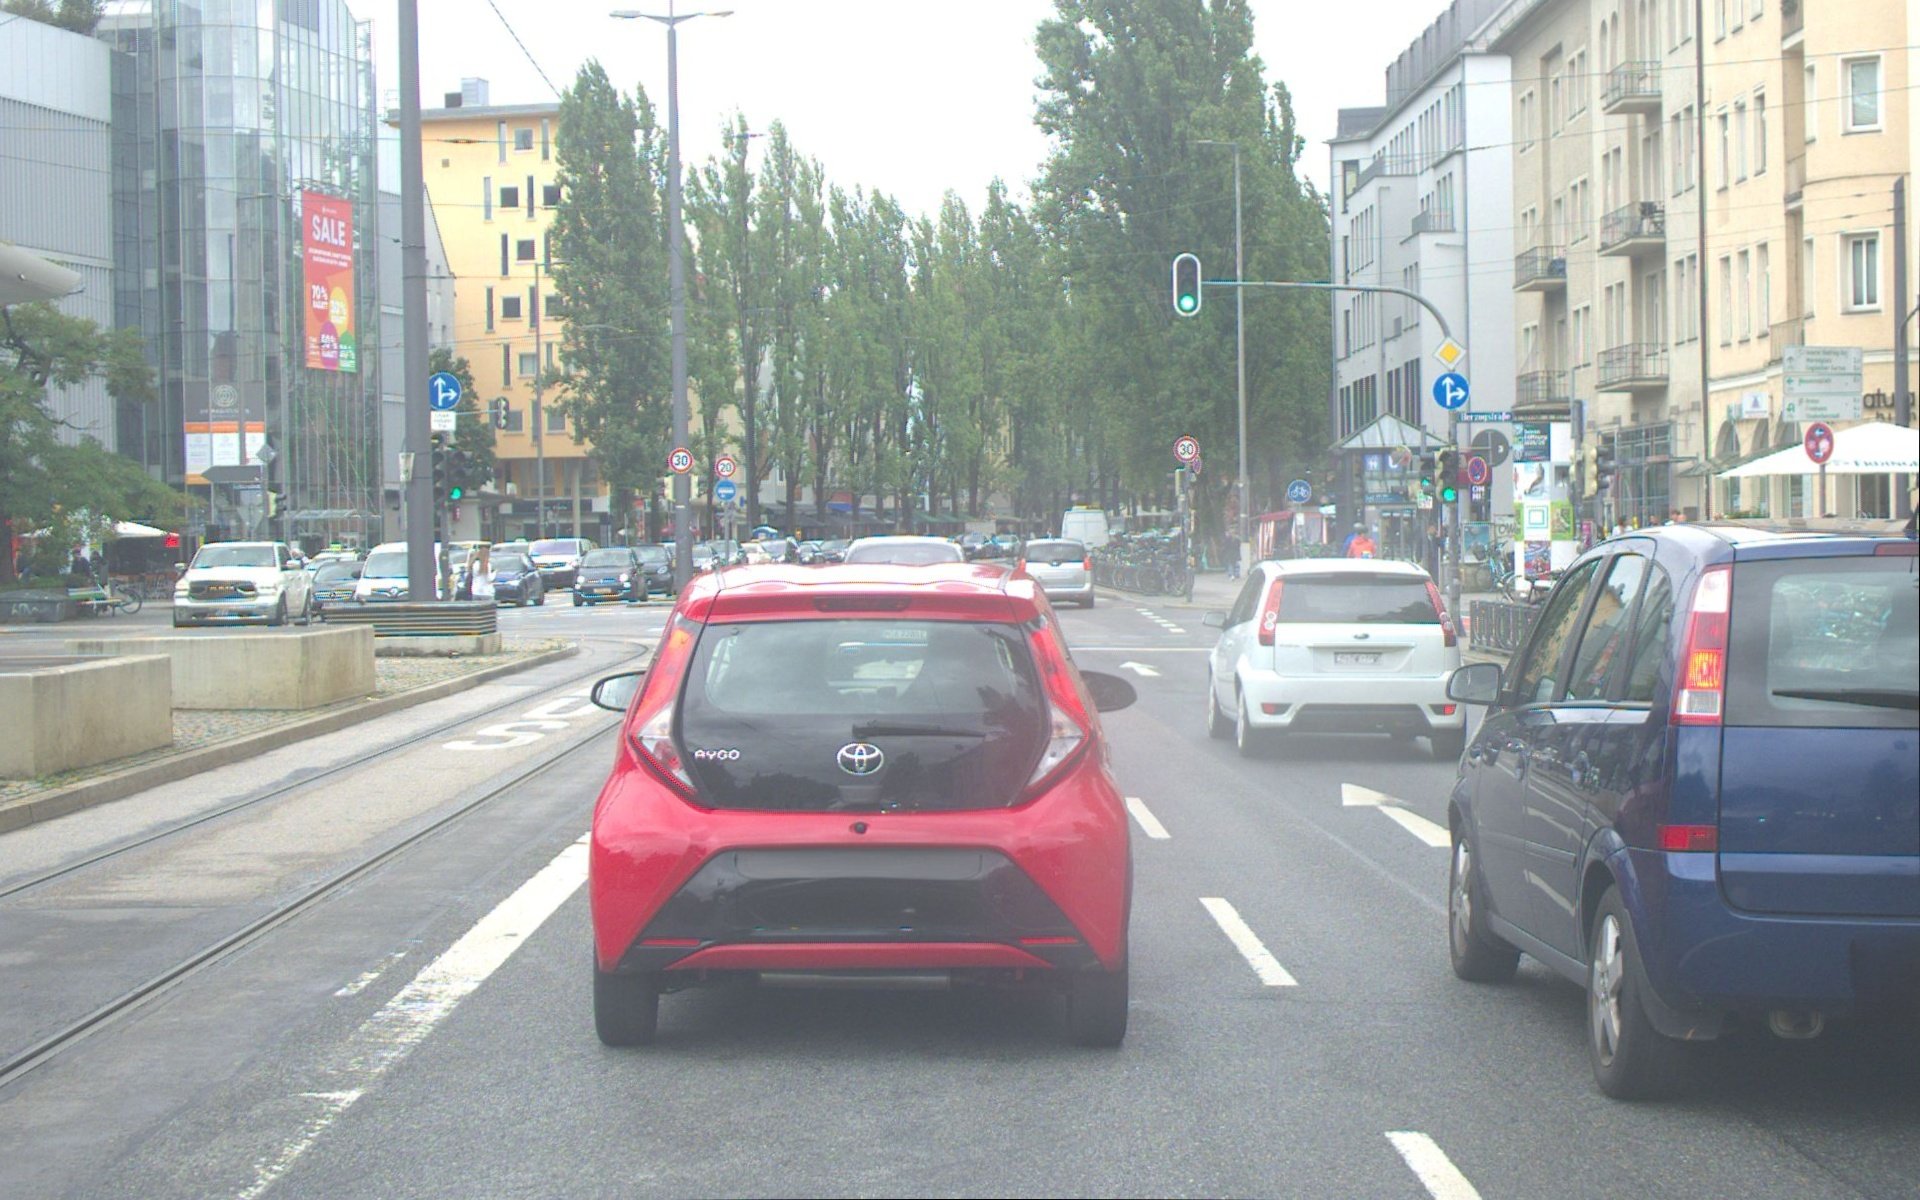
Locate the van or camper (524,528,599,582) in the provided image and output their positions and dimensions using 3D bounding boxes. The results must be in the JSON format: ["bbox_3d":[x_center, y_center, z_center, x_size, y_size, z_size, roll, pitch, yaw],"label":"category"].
[{"bbox_3d":[-13.894,-1.583,120.000,1.928,1.819,5.441,-1,1,0],"label":"van or camper"}]

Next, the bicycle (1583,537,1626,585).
[{"bbox_3d":[14.761,-0.898,78.749,0.494,1.055,1.867,-1,1,-5],"label":"bicycle"}]

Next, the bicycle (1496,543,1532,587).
[{"bbox_3d":[12.687,-0.812,78.776,0.494,0.971,1.866,-1,1,0],"label":"bicycle"}]

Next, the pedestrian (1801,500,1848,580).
[{"bbox_3d":[18.643,-1.299,74.127,0.745,1.679,0.682,-5,6,-42],"label":"pedestrian"}]

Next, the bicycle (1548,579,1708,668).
[{"bbox_3d":[7.644,0.271,39.392,1.840,0.992,0.347,-1,1,40],"label":"bicycle"}]

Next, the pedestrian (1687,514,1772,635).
[{"bbox_3d":[11.223,-0.372,50.145,0.881,1.737,0.859,-1,1,-16],"label":"pedestrian"}]

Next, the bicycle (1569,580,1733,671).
[{"bbox_3d":[7.747,0.289,38.585,1.840,0.992,0.347,-1,1,40],"label":"bicycle"}]

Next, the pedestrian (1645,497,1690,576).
[{"bbox_3d":[15.717,-1.418,76.371,0.644,1.699,0.733,-4,5,-29],"label":"pedestrian"}]

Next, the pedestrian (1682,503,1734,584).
[{"bbox_3d":[16.413,-1.251,75.438,0.934,1.749,1.065,-1,1,3],"label":"pedestrian"}]

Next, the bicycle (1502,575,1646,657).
[{"bbox_3d":[7.634,0.202,42.800,1.840,0.992,0.347,-1,1,43],"label":"bicycle"}]

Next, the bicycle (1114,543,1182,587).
[{"bbox_3d":[5.089,-0.944,92.934,1.802,1.154,0.486,0,1,30],"label":"bicycle"}]

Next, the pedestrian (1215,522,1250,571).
[{"bbox_3d":[8.471,-1.657,106.931,0.797,1.517,0.811,-1,1,-18],"label":"pedestrian"}]

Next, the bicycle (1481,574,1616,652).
[{"bbox_3d":[7.690,0.176,44.970,1.841,0.992,0.347,-1,1,44],"label":"bicycle"}]

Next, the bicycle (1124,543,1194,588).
[{"bbox_3d":[5.215,-0.906,90.126,1.803,1.154,0.547,0,2,38],"label":"bicycle"}]

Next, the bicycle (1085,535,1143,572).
[{"bbox_3d":[4.761,-1.432,106.122,1.836,1.132,0.585,0,2,43],"label":"bicycle"}]

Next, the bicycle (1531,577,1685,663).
[{"bbox_3d":[7.667,0.244,40.730,1.840,0.992,0.347,-1,1,40],"label":"bicycle"}]

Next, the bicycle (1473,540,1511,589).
[{"bbox_3d":[12.186,-0.823,78.796,0.566,1.104,1.866,-1,1,0],"label":"bicycle"}]

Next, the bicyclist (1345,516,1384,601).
[{"bbox_3d":[8.079,-0.837,68.675,0.614,1.652,1.251,-1,1,0],"label":"bicyclist"}]

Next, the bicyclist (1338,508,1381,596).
[{"bbox_3d":[8.568,-1.029,73.781,0.762,1.863,1.133,-1,1,1],"label":"bicyclist"}]

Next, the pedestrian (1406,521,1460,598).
[{"bbox_3d":[10.405,-0.892,75.620,0.836,1.685,0.818,0,1,37],"label":"pedestrian"}]

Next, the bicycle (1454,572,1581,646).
[{"bbox_3d":[7.632,0.131,47.126,1.841,0.992,0.347,-1,1,44],"label":"bicycle"}]

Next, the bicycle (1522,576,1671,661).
[{"bbox_3d":[7.656,0.230,41.417,1.840,0.992,0.347,-1,1,43],"label":"bicycle"}]

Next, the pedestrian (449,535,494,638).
[{"bbox_3d":[-7.741,-0.211,54.495,0.486,1.613,0.558,-2,1,-35],"label":"pedestrian"}]

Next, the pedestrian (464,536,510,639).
[{"bbox_3d":[-7.457,-0.200,54.207,0.521,1.613,0.463,0,1,43],"label":"pedestrian"}]

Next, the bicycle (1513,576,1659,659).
[{"bbox_3d":[7.651,0.217,42.083,1.840,0.992,0.347,-1,1,43],"label":"bicycle"}]

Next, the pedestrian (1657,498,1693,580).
[{"bbox_3d":[15.709,-1.347,75.504,0.648,1.745,0.637,-1,4,2],"label":"pedestrian"}]

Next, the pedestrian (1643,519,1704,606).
[{"bbox_3d":[12.768,-0.675,61.570,0.729,1.535,0.891,-1,1,-15],"label":"pedestrian"}]

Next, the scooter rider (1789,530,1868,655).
[{"bbox_3d":[9.783,-0.088,38.740,0.700,1.384,0.643,-1,1,-2],"label":"scooter rider"}]

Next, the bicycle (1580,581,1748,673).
[{"bbox_3d":[7.755,0.303,37.930,1.840,0.992,0.347,-1,1,40],"label":"bicycle"}]

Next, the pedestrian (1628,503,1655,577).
[{"bbox_3d":[15.182,-1.345,76.590,0.561,1.604,0.567,-1,4,13],"label":"pedestrian"}]

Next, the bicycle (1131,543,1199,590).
[{"bbox_3d":[5.280,-0.865,88.733,1.803,1.194,0.558,0,2,43],"label":"bicycle"}]

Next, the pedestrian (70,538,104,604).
[{"bbox_3d":[-23.981,-0.801,94.387,0.749,1.767,0.773,-2,1,-23],"label":"pedestrian"}]

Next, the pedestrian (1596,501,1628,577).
[{"bbox_3d":[14.505,-1.357,76.503,0.566,1.665,0.562,0,4,22],"label":"pedestrian"}]

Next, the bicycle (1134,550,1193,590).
[{"bbox_3d":[5.203,-0.770,88.074,0.498,1.025,1.601,-2,2,-42],"label":"bicycle"}]
